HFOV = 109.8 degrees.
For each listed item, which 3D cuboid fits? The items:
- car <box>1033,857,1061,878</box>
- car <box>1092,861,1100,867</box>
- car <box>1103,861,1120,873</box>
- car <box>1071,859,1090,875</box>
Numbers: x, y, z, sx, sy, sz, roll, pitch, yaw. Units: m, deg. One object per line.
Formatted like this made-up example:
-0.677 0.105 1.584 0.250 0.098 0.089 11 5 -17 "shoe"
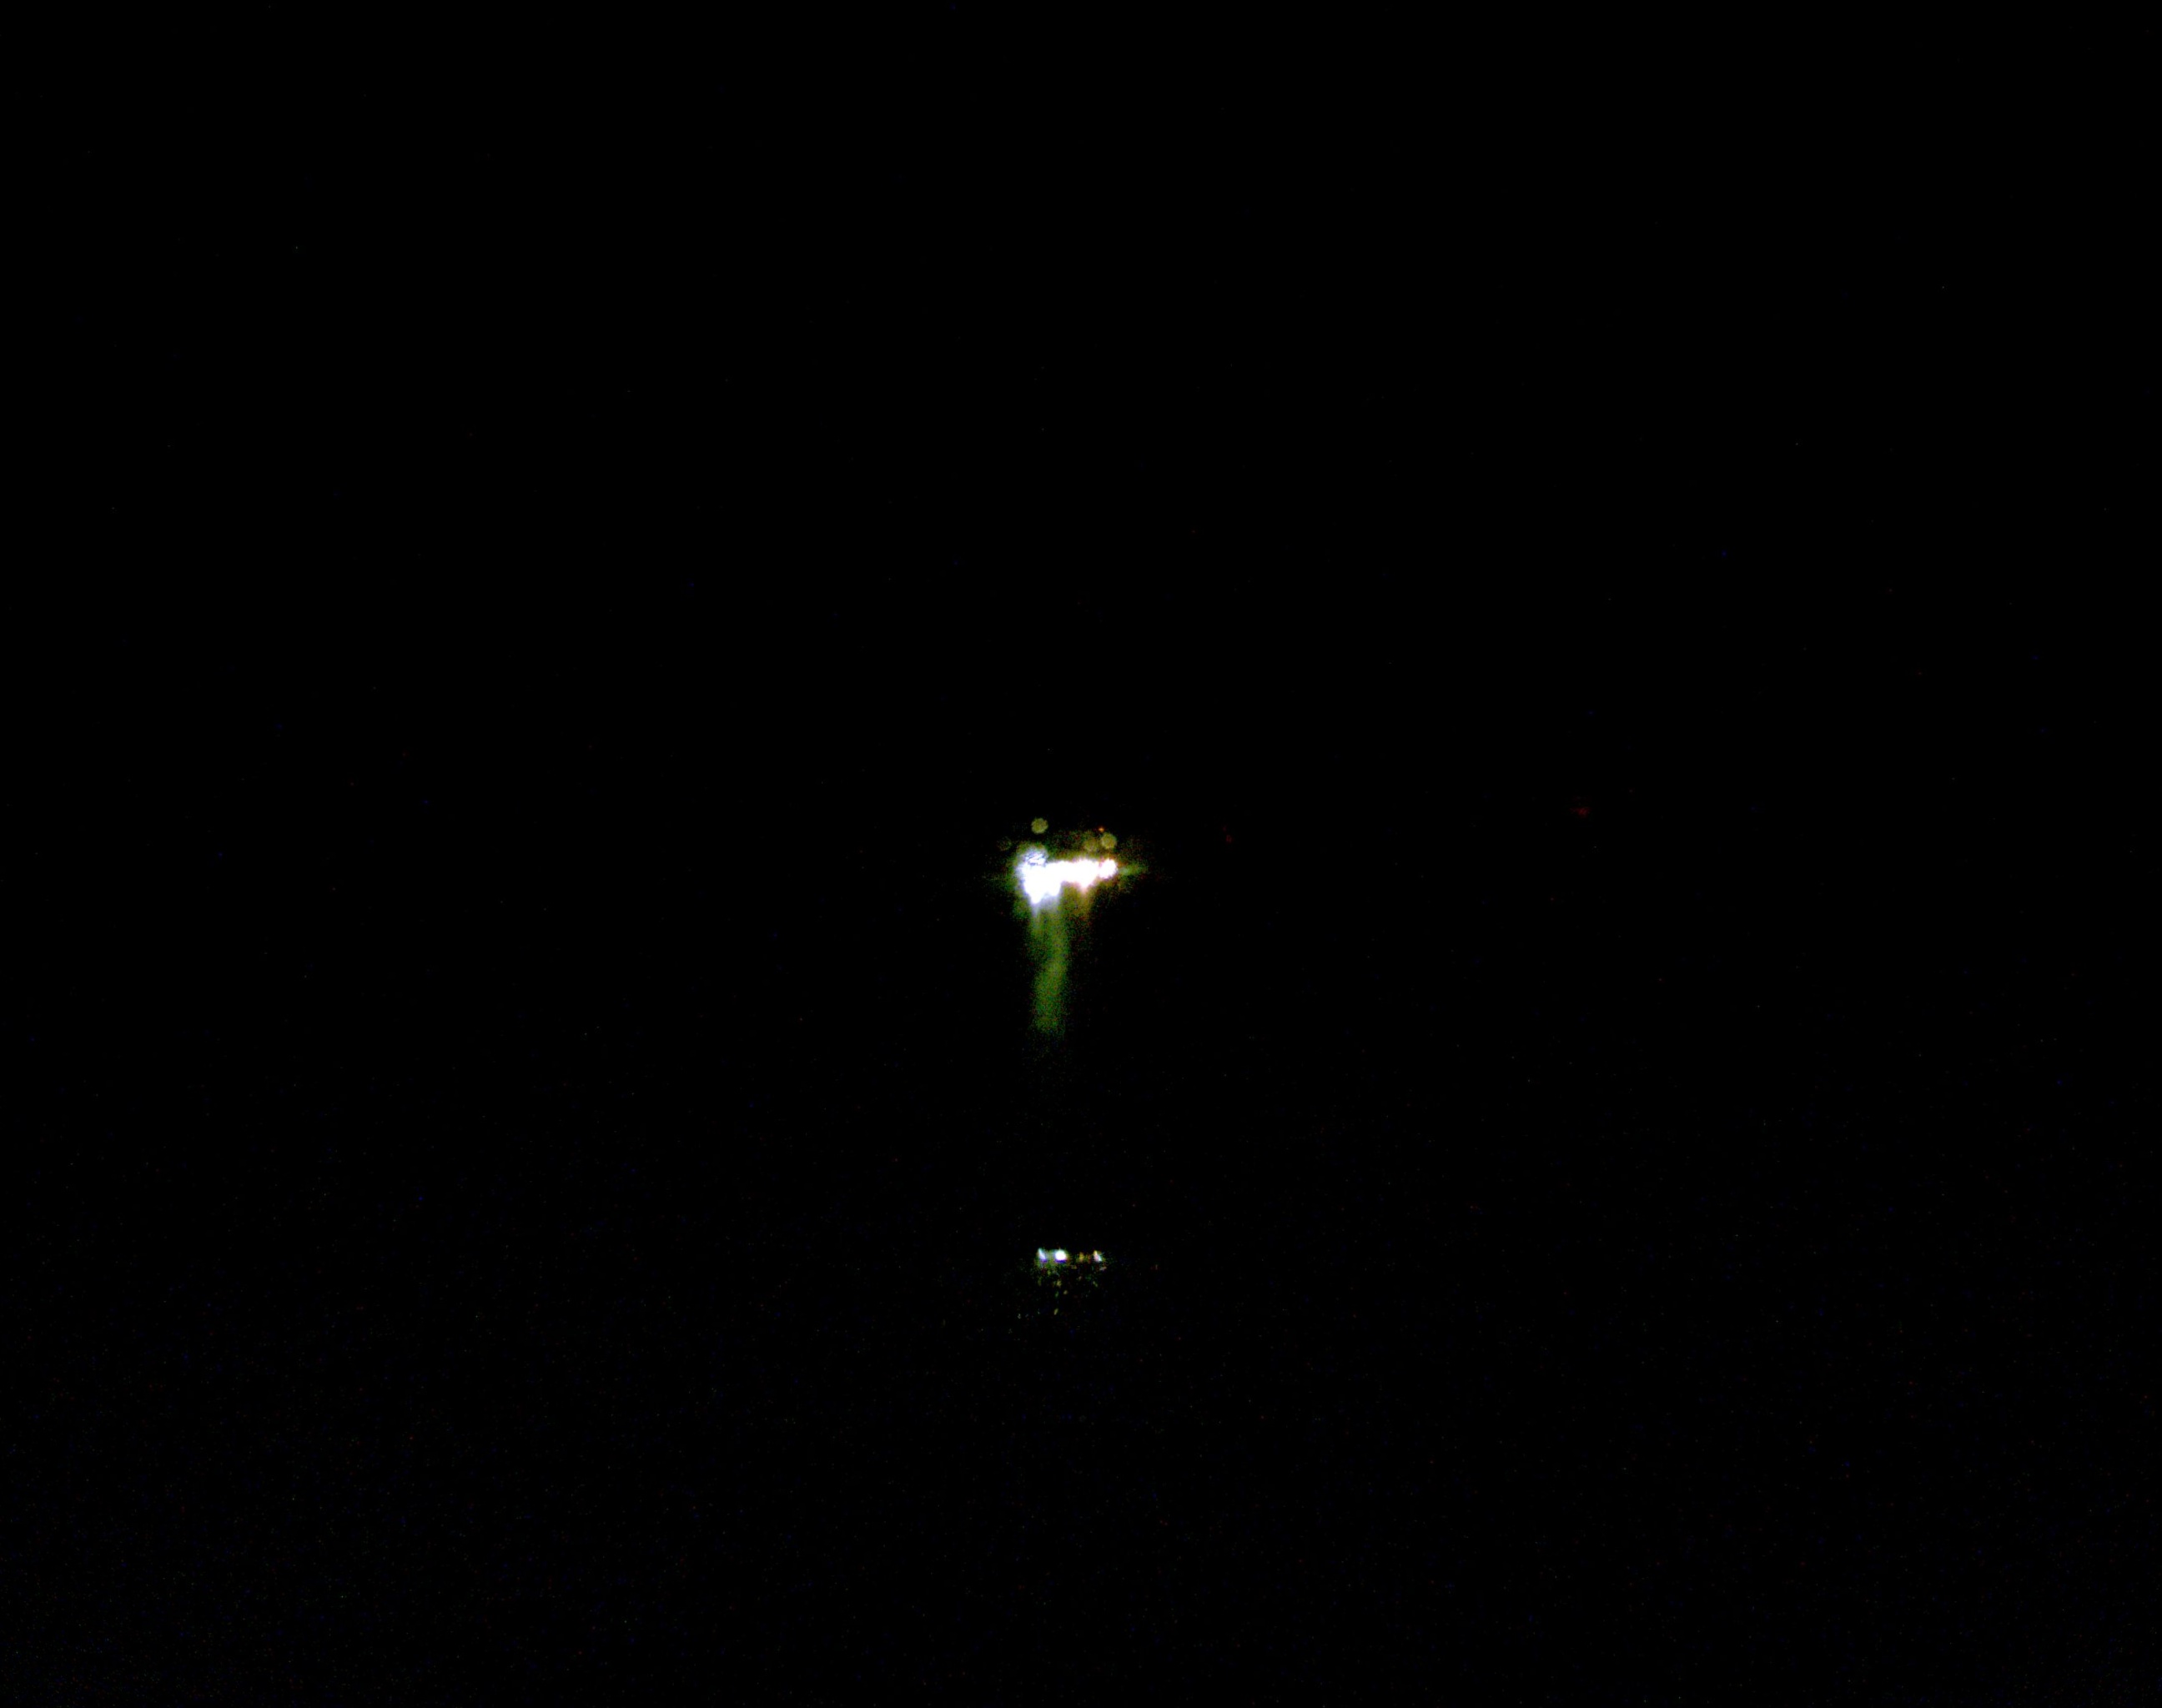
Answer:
-2.801 1.072 62.793 1.998 1.576 4.000 -4 0 0 "car"
4.113 2.668 202.930 1.998 1.576 4.000 -3 0 0 "car"
4.200 1.776 104.156 1.999 1.465 4.275 -3 0 -1 "car"
-0.010 1.479 86.638 1.998 1.576 4.000 -3 0 0 "car"
